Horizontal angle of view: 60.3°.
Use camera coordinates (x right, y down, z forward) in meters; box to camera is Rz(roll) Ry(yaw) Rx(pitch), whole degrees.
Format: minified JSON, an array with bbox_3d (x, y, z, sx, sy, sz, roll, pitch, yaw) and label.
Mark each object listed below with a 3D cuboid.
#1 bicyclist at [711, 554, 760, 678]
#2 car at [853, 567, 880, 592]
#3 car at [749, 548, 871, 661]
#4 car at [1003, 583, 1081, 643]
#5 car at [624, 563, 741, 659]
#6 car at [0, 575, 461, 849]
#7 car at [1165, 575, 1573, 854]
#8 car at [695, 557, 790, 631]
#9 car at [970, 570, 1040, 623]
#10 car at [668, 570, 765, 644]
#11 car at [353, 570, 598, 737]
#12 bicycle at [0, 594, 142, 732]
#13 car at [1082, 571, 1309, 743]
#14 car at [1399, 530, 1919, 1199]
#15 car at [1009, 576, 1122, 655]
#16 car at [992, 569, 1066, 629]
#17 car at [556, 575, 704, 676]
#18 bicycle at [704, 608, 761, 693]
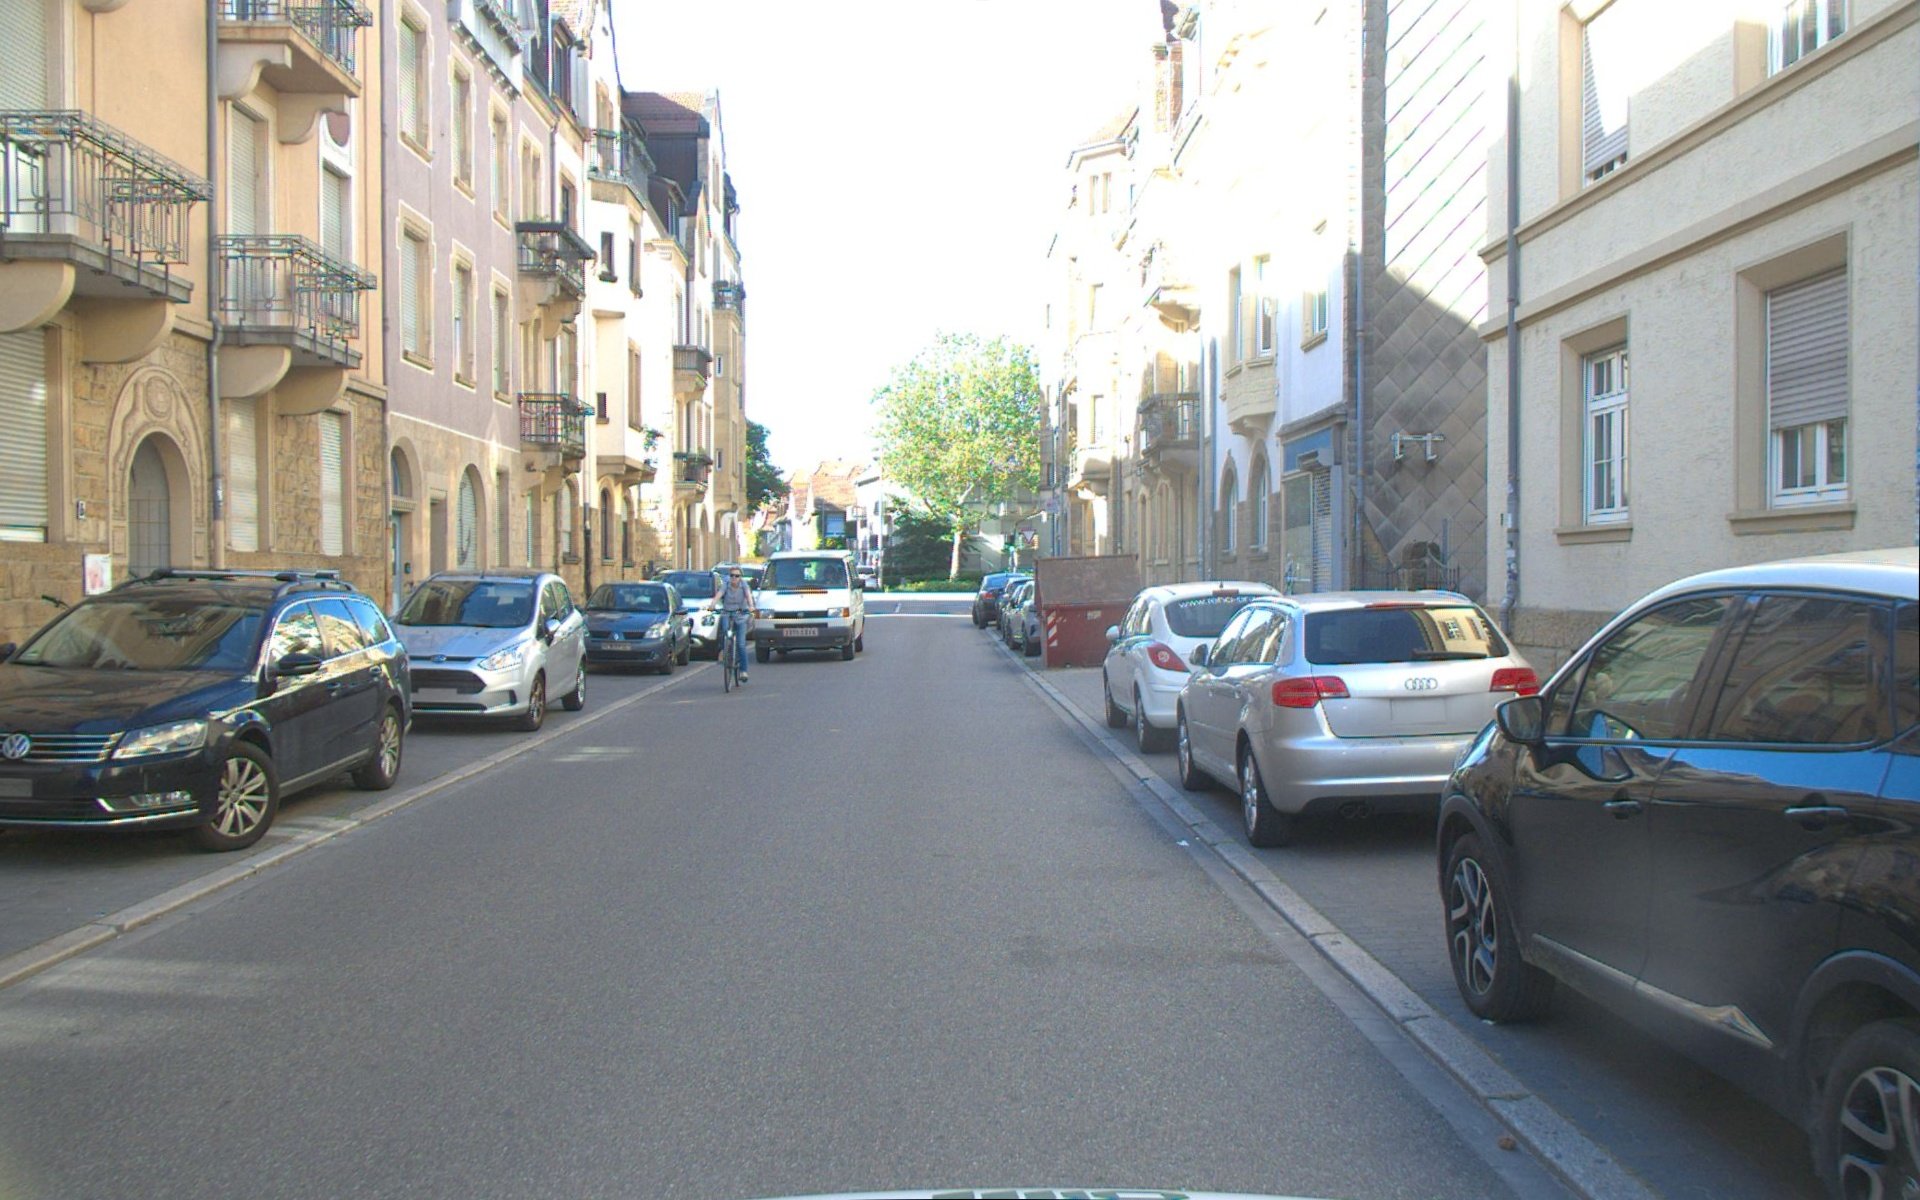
[{"bbox_3d":[-3.118,0.212,23.047,0.595,1.694,0.632,0,1,-1],"label":"bicyclist"},{"bbox_3d":[-5.916,-1.280,104.762,1.641,1.508,3.520,1,0,-3],"label":"car"},{"bbox_3d":[-2.759,0.037,31.318,1.825,1.970,4.600,0,1,1],"label":"car"},{"bbox_3d":[1.830,0.261,37.873,1.658,1.276,3.942,0,1,1],"label":"car"},{"bbox_3d":[-5.204,0.158,31.440,1.681,1.610,4.018,3,1,-3],"label":"car"},{"bbox_3d":[-4.905,0.611,11.568,1.680,1.548,4.109,-1,1,-2],"label":"car"},{"bbox_3d":[2.493,0.590,11.083,1.619,1.490,4.093,-1,1,-2],"label":"car"},{"bbox_3d":[-5.679,-0.204,43.782,1.853,1.752,4.726,3,1,-1],"label":"car"},{"bbox_3d":[1.264,-0.134,48.224,1.828,1.487,4.338,0,1,-2],"label":"car"},{"bbox_3d":[-5.374,0.100,36.865,1.541,1.513,4.279,1,1,-1],"label":"car"},{"bbox_3d":[-5.037,0.481,17.671,1.680,1.565,3.722,0,1,-3],"label":"car"},{"bbox_3d":[-8.246,0.538,15.121,0.651,1.180,1.845,1,0,-2],"label":"bicycle"},{"bbox_3d":[2.225,0.470,16.464,1.554,1.490,3.710,-1,1,-3],"label":"car"},{"bbox_3d":[2.667,0.598,5.014,1.645,1.573,3.915,-1,1,0],"label":"car"},{"bbox_3d":[2.051,0.261,33.106,1.751,1.454,3.804,0,1,-5],"label":"car"},{"bbox_3d":[1.761,-0.076,43.371,1.618,1.467,4.257,-1,1,-2],"label":"car"},{"bbox_3d":[-5.257,0.365,26.785,1.638,1.417,3.666,3,1,-1],"label":"car"},{"bbox_3d":[-3.130,0.677,22.887,0.529,1.095,1.800,0,1,0],"label":"bicycle"}]
